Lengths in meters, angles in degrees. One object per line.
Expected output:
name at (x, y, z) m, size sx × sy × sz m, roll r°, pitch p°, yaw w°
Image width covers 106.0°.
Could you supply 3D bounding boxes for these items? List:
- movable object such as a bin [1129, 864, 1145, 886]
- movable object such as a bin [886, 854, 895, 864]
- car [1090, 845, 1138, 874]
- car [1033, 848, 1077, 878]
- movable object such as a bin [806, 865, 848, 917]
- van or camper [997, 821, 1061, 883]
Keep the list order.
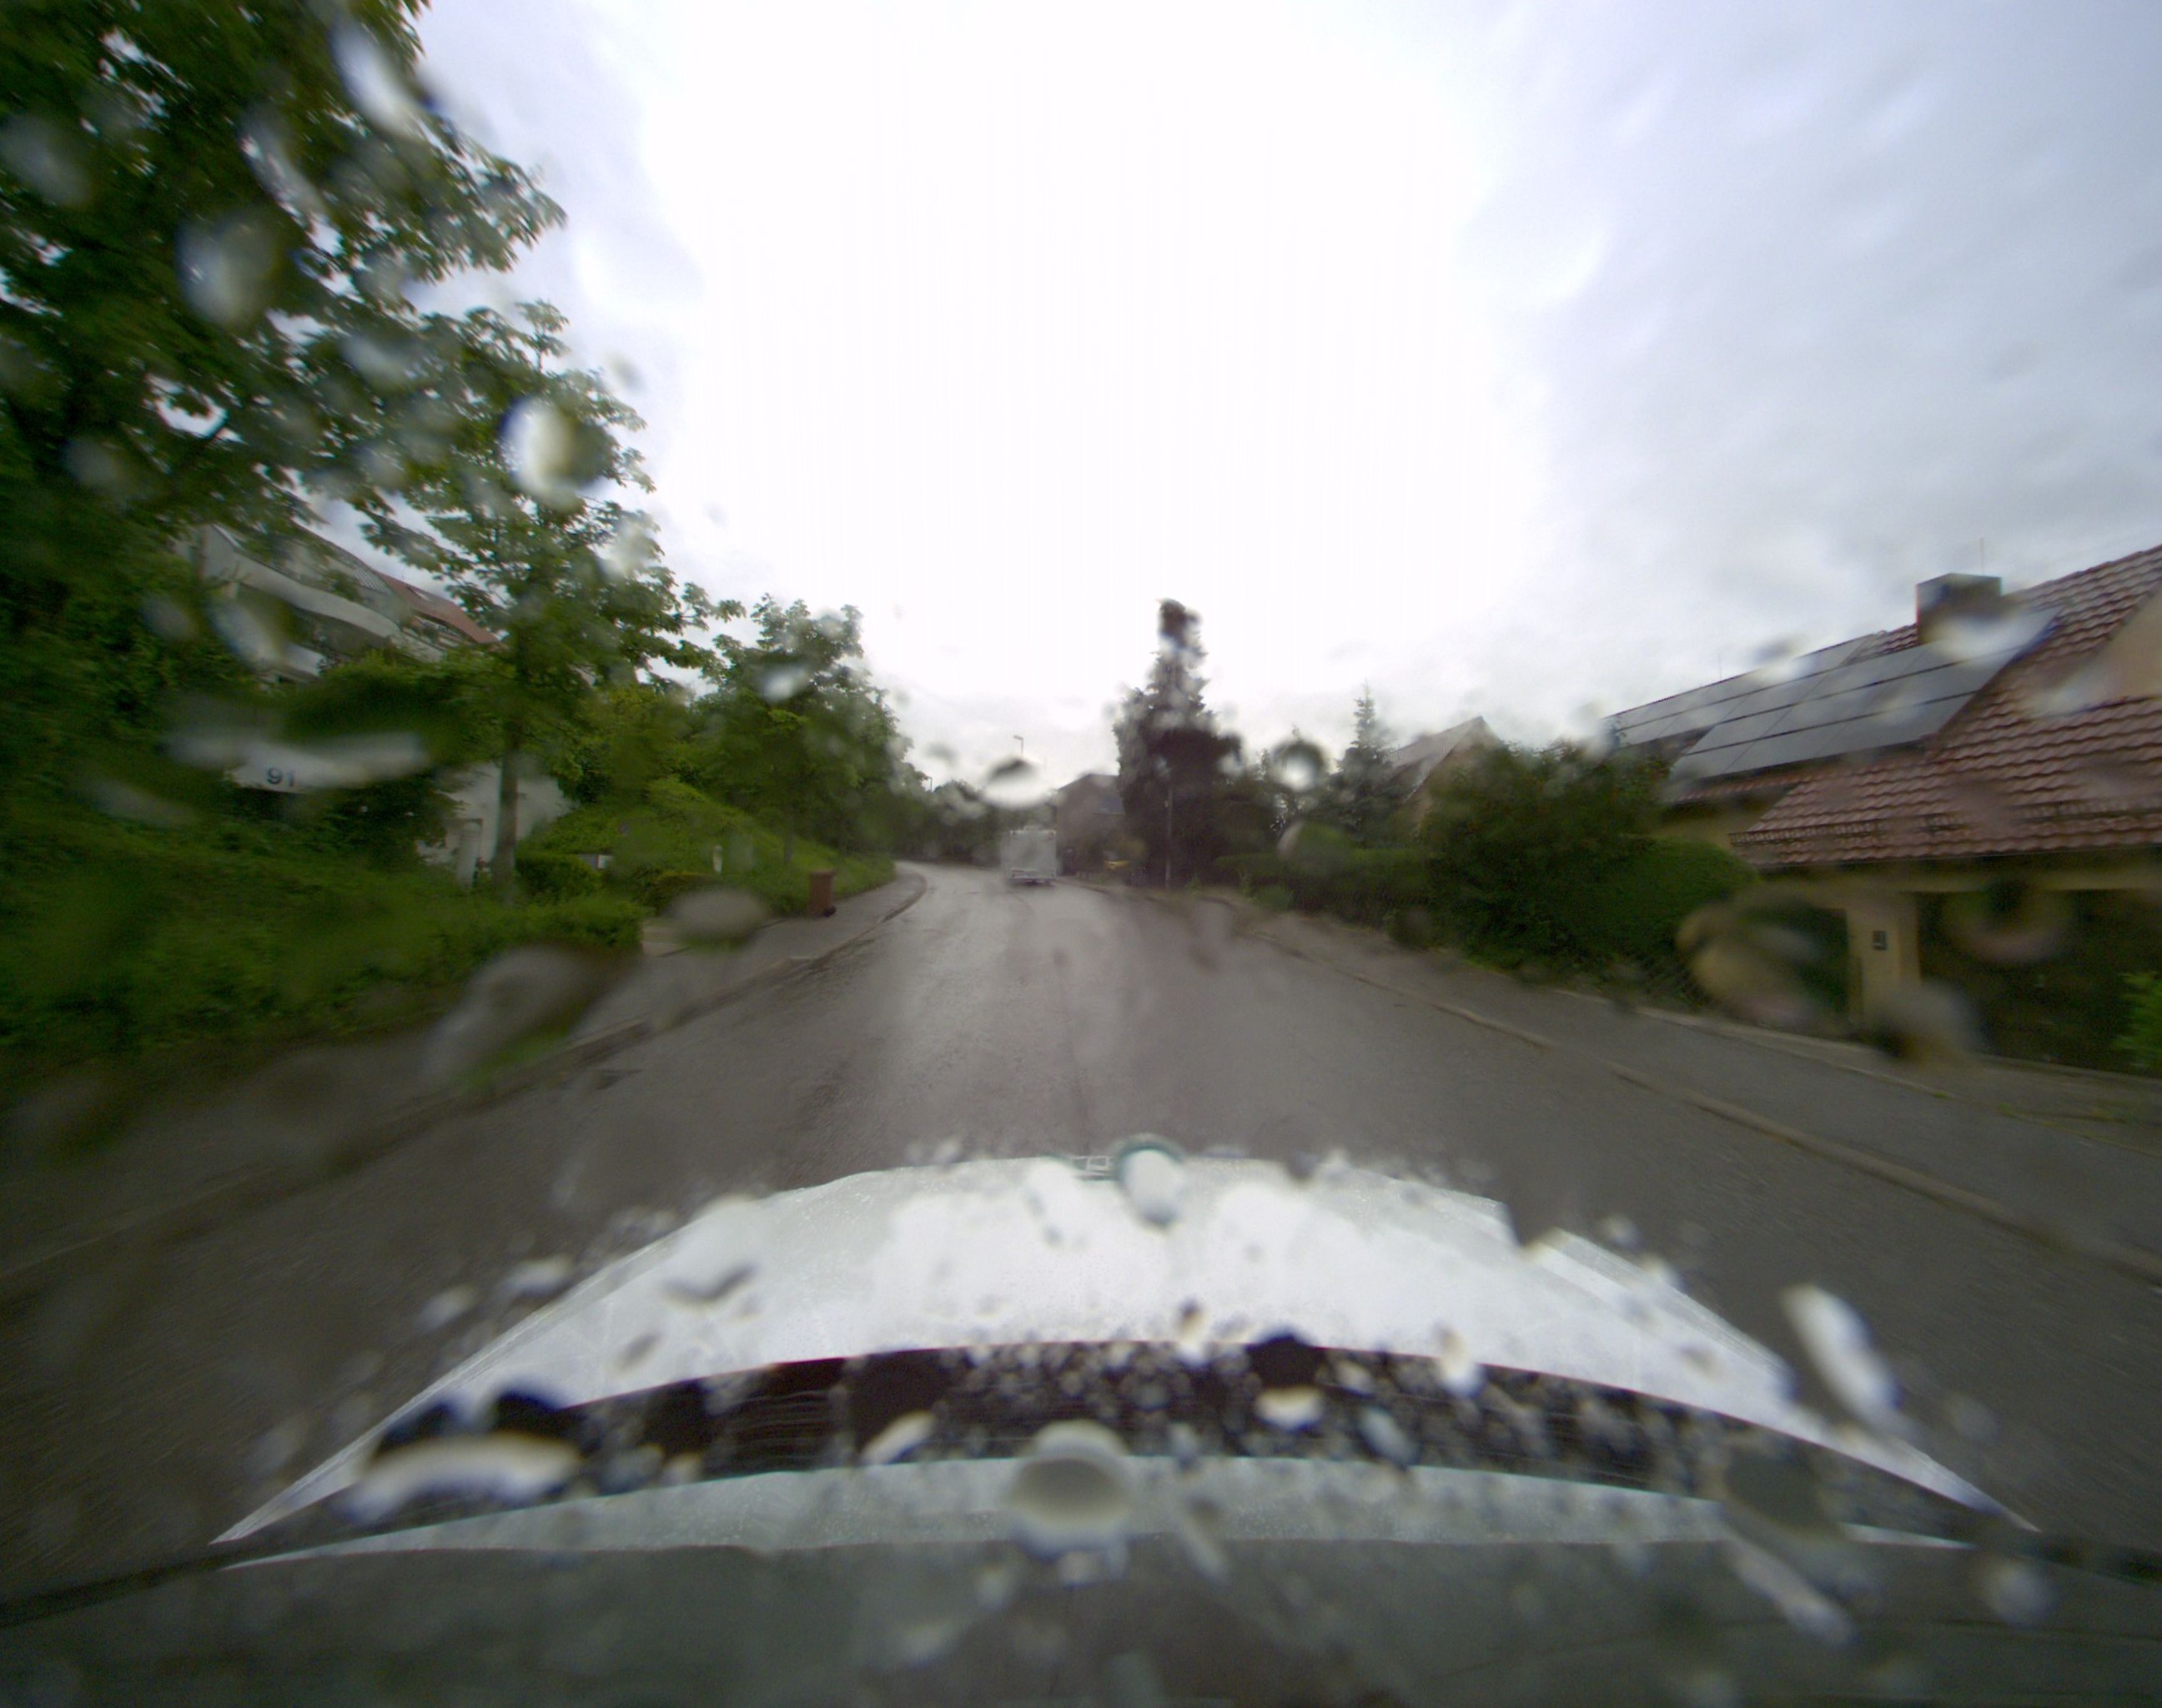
movable object such as a bin at (2.510, 0.928, 36.279) m, size 0.505 × 0.969 × 0.592 m, roll 4°, pitch -1°, yaw -12°
movable object such as a bin at (-16.321, 0.425, 69.783) m, size 0.650 × 0.911 × 0.669 m, roll 1°, pitch 0°, yaw -18°
car at (1.876, 0.344, 47.858) m, size 1.633 × 1.493 × 3.405 m, roll -5°, pitch 1°, yaw -18°
car at (-1.913, 0.682, 58.402) m, size 1.998 × 1.941 × 4.745 m, roll 1°, pitch -3°, yaw -17°
movable object such as a bin at (-5.876, 0.841, 18.863) m, size 0.692 × 1.090 × 0.803 m, roll 2°, pitch 3°, yaw -1°
van or camper at (-2.749, -0.058, 41.561) m, size 2.541 × 2.925 × 5.925 m, roll 0°, pitch -1°, yaw -11°
